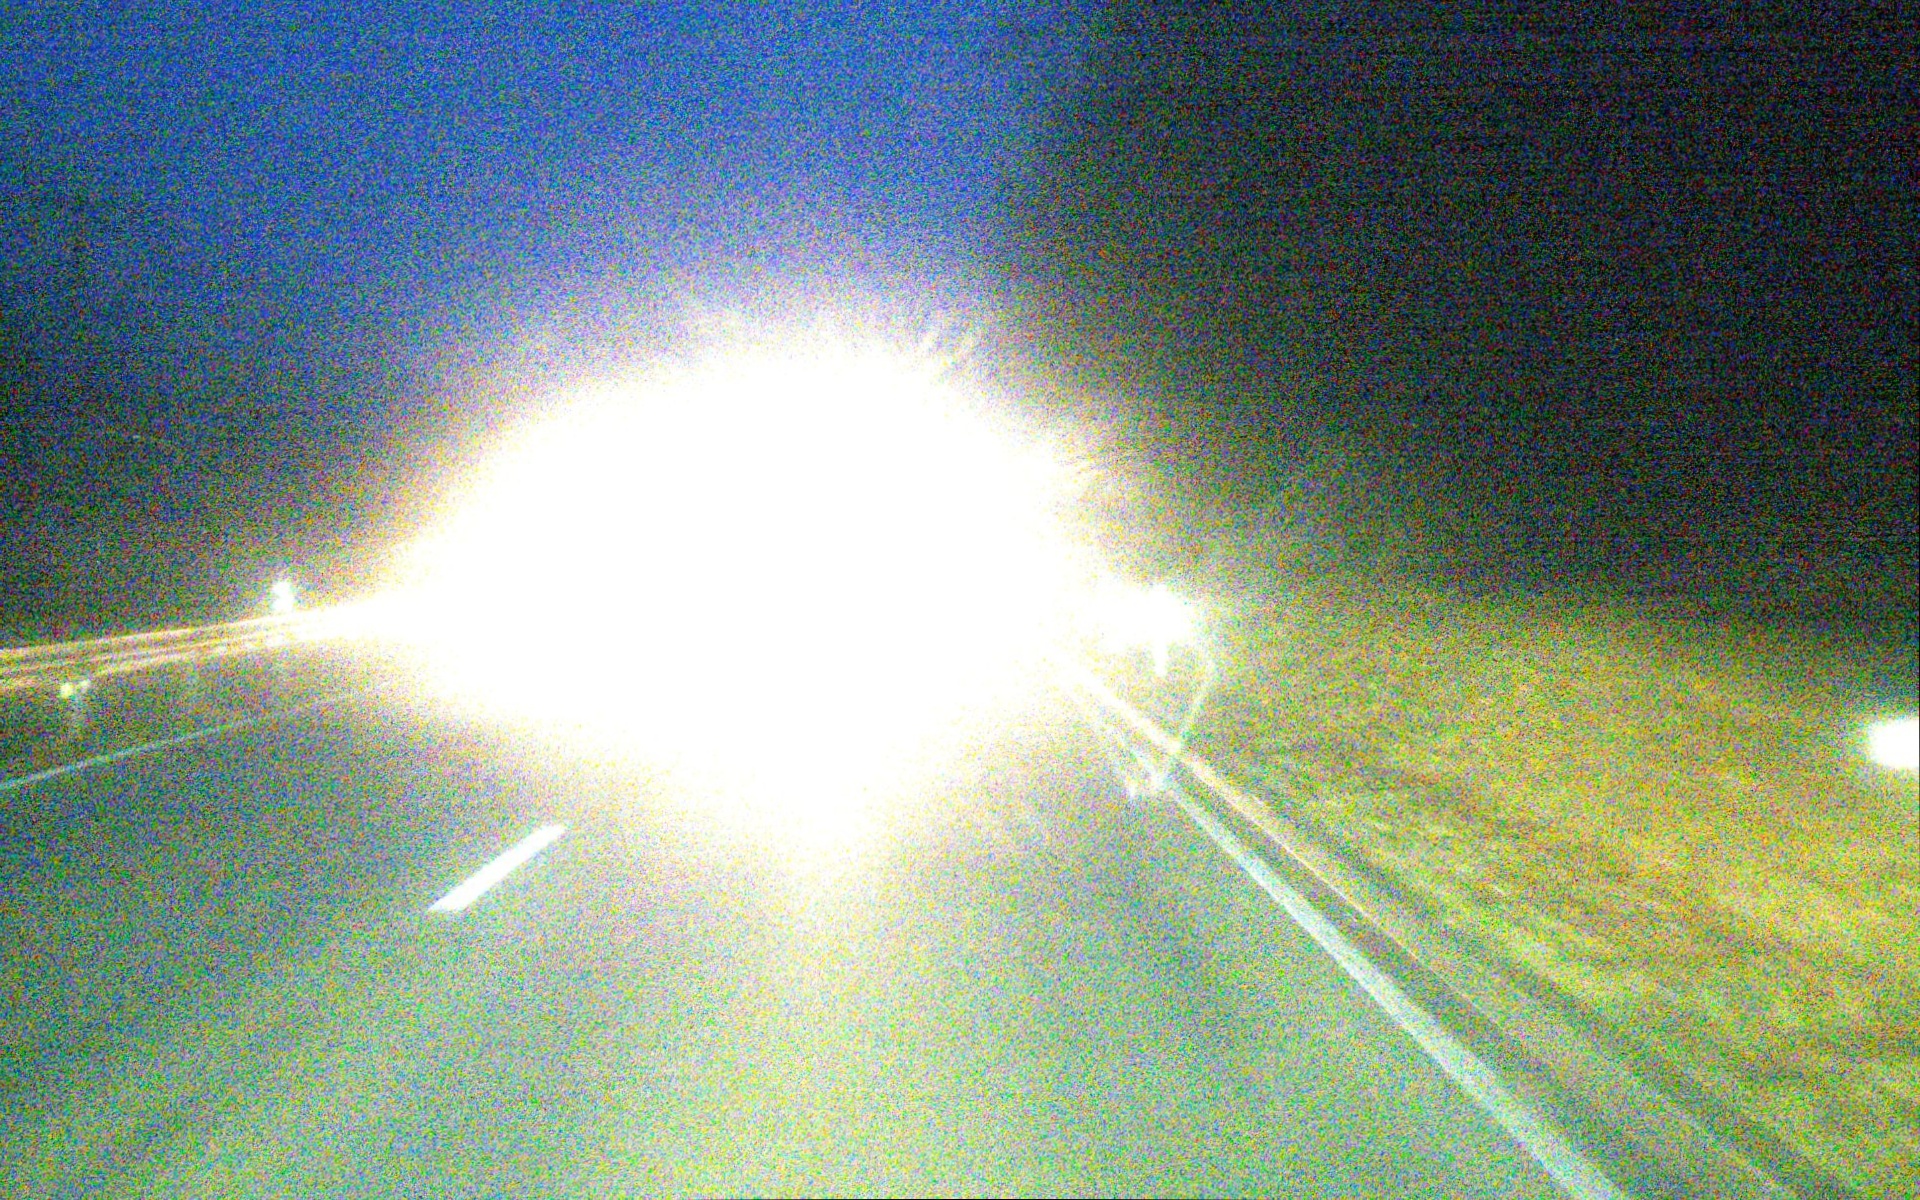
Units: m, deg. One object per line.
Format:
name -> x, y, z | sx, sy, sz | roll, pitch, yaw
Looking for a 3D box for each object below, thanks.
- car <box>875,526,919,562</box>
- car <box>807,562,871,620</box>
car -> -2.915, -2.583, 158.845 | 1.993, 1.660, 4.000 | 0, 1, -1
car -> -4.016, -0.326, 114.839 | 1.993, 1.818, 4.563 | 2, 1, -1
